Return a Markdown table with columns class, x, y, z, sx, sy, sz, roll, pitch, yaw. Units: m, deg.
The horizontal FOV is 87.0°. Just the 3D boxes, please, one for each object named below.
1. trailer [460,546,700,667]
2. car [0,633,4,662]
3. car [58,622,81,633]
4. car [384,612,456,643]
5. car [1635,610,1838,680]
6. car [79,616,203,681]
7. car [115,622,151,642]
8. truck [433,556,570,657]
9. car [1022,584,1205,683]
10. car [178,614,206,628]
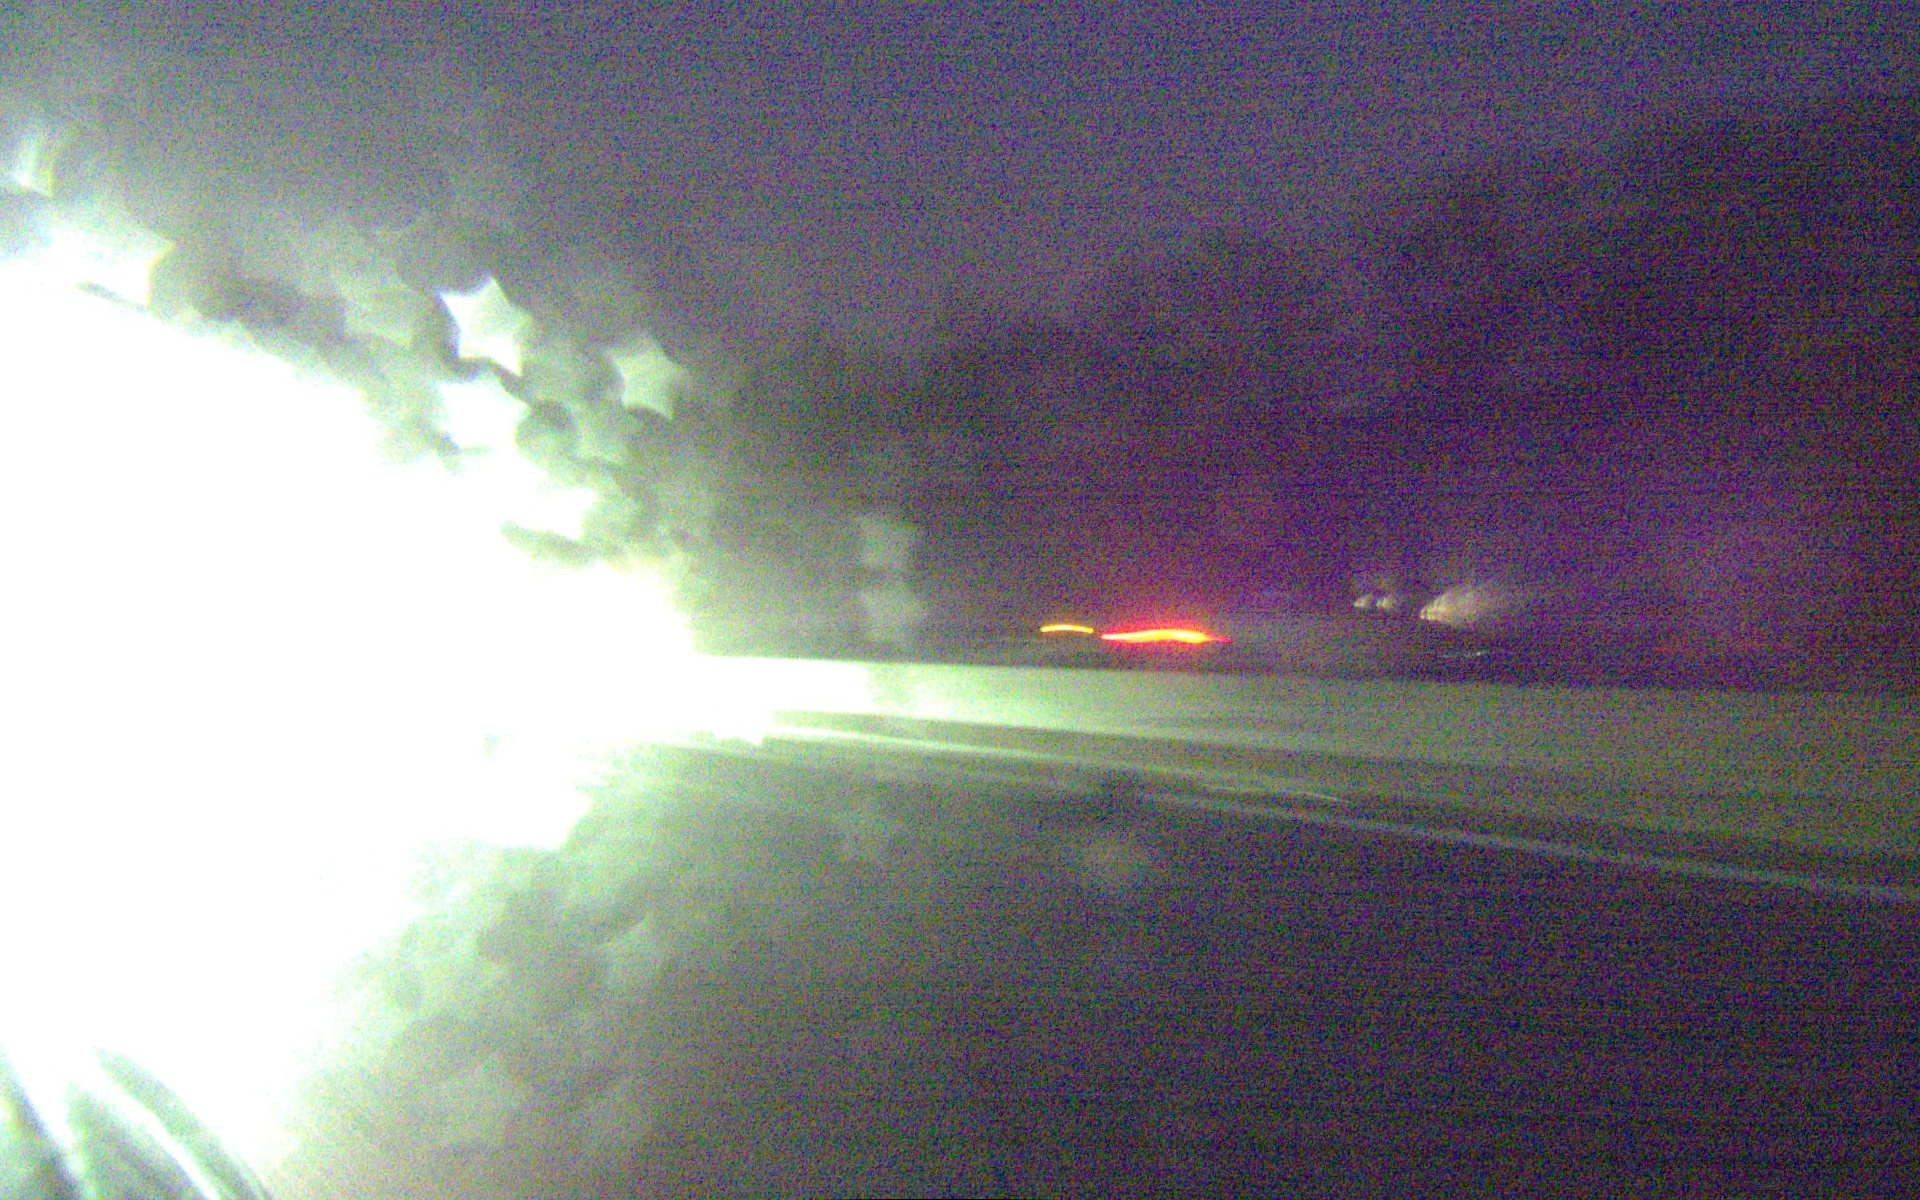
| class | x | y | z | sx | sy | sz | roll | pitch | yaw |
| --- | --- | --- | --- | --- | --- | --- | --- | --- | --- |
| trailer | -17.302 | 0.338 | 45.104 | 13.957 | 4.659 | 4.122 | 0 | -2 | 43 |
| car | -59.229 | 2.842 | 61.086 | 4.001 | 1.689 | 1.971 | 0 | -2 | 43 |
| car | -128.962 | 3.989 | 146.628 | 3.997 | 1.475 | 1.940 | 0 | 0 | 40 |
| car | -24.007 | 1.199 | 44.957 | 3.407 | 1.298 | 1.625 | 0 | -2 | 40 |
| car | 15.366 | 0.852 | 20.077 | 3.084 | 1.219 | 1.714 | -1 | 1 | 41 |
| car | -22.510 | 1.271 | 27.779 | 2.278 | 1.621 | 3.874 | 2 | -2 | -44 |
| car | -73.586 | 2.855 | 90.045 | 3.997 | 1.674 | 1.815 | -1 | 0 | 40 |
| truck | -22.724 | 0.382 | 50.114 | 5.845 | 4.659 | 4.122 | 0 | -2 | 42 |
| car | 3.569 | 0.731 | 23.925 | 3.949 | 2.144 | 1.773 | 0 | 0 | 42 |
| car | -84.700 | 2.321 | 111.537 | 3.998 | 1.475 | 1.690 | 0 | 0 | 41 |
